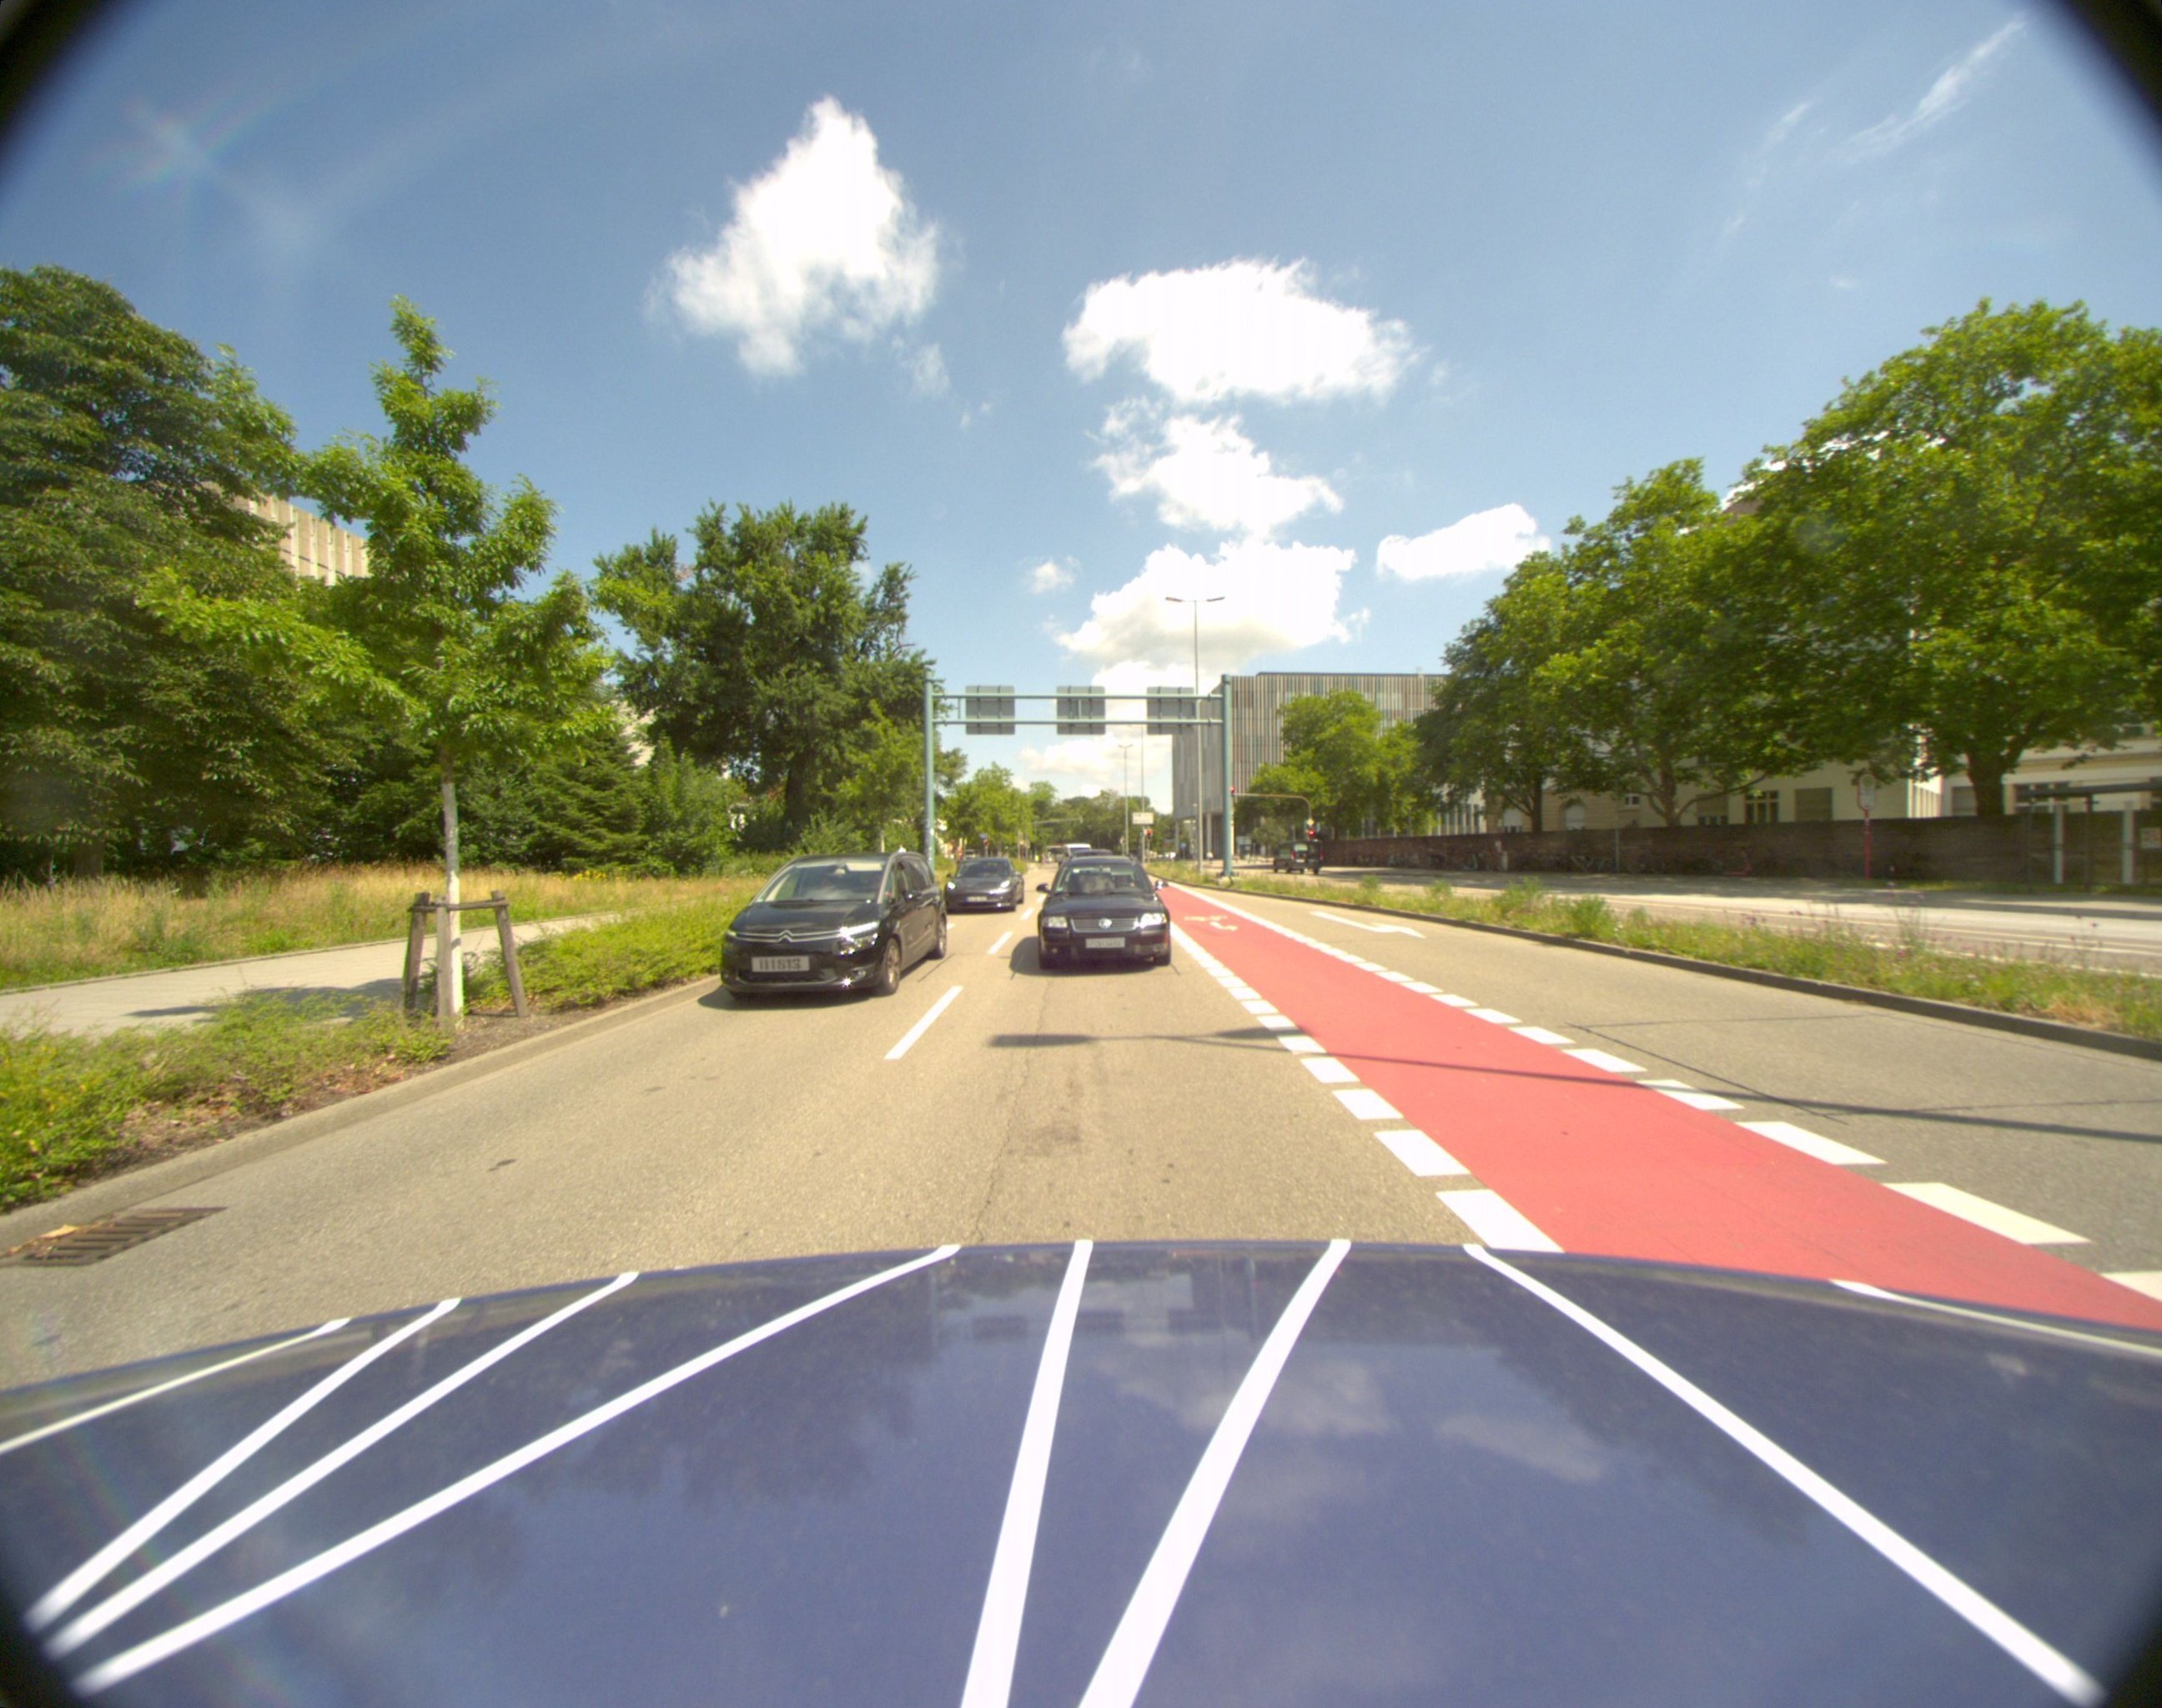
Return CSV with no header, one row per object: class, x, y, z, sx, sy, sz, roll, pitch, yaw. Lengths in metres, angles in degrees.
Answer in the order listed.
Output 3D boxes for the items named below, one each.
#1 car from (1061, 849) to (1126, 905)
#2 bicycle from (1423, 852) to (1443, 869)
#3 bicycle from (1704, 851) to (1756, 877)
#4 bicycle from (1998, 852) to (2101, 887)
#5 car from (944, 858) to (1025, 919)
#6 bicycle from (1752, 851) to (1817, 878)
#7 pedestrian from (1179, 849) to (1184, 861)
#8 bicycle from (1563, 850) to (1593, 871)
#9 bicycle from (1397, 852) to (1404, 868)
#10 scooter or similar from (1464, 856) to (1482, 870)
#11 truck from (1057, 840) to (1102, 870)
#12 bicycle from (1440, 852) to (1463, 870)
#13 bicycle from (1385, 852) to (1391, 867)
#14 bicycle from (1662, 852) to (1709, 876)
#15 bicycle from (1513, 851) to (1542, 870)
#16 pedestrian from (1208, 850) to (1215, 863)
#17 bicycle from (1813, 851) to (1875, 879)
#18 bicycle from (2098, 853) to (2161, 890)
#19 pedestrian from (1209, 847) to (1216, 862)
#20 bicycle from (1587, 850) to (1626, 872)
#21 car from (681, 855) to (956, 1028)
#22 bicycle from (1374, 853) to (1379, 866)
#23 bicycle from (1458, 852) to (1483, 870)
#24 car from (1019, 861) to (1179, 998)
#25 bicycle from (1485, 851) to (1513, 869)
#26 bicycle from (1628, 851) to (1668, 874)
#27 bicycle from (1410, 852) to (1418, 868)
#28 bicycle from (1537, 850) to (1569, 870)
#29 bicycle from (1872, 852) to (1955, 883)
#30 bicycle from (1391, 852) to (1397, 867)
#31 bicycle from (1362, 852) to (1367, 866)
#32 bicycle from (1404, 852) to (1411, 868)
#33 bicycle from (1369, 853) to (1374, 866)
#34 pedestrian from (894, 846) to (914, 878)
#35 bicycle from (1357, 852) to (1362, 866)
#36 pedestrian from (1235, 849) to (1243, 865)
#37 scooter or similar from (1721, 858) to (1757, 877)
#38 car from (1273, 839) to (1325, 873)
car,0.330,0.637,23.507,1.751,1.496,4.519,-3,0,-1
bicycle,23.402,0.446,50.527,0.383,1.101,1.669,-1,1,-9
bicycle,27.356,0.408,32.058,0.398,1.037,1.759,-1,1,-16
bicycle,30.040,0.451,23.617,0.398,1.037,1.954,-1,1,-19
car,-2.576,0.873,21.230,1.766,1.409,4.362,-3,0,-2
bicycle,27.894,0.409,30.182,0.398,1.037,1.955,-1,1,-17
pedestrian,16.135,0.226,121.950,0.715,1.906,0.807,-2,2,-5
bicycle,25.555,0.328,39.091,0.377,1.037,1.415,-1,1,-14
bicycle,22.674,0.399,53.919,0.382,1.101,1.673,0,1,21
scooter or similar,23.521,0.522,45.611,0.353,0.838,1.068,-1,1,-13
truck,-0.193,0.082,62.241,2.464,2.287,5.810,-3,0,-12
bicycle,23.631,0.431,48.505,0.383,1.101,1.668,-1,1,-11
bicycle,22.300,0.389,55.171,0.382,1.101,1.673,0,1,21
bicycle,26.895,0.435,33.821,0.398,0.998,1.759,-1,1,-14
bicycle,24.858,0.328,42.354,0.383,1.037,1.668,-1,1,-12
pedestrian,19.820,0.432,115.654,0.825,1.906,0.807,-2,2,-5
bicycle,28.497,0.395,28.402,0.398,1.037,1.637,-1,1,-19
bicycle,30.690,0.505,21.692,0.398,1.037,1.954,-1,1,-19
pedestrian,16.606,0.061,95.746,0.632,1.907,0.718,-2,2,-3
bicycle,25.947,0.344,37.519,0.398,1.037,1.759,-1,1,-14
car,-2.983,0.878,9.816,1.862,1.613,4.520,-3,0,1
bicycle,22.248,0.409,57.251,0.329,1.012,1.673,0,1,21
bicycle,24.008,0.407,46.845,0.383,1.101,1.668,-1,1,-12
car,0.241,0.888,10.918,1.751,1.426,4.520,-3,0,1
bicycle,24.337,0.333,44.255,0.383,1.037,1.668,-1,1,-12
bicycle,26.470,0.368,35.503,0.398,1.037,1.581,-1,1,-14
bicycle,22.923,0.418,52.304,0.382,1.101,1.673,0,1,21
bicycle,25.212,0.314,40.635,0.383,1.037,1.668,-1,1,-12
bicycle,29.118,0.438,26.604,0.398,1.037,1.954,-1,1,-19
bicycle,22.562,0.388,54.734,0.382,1.101,1.673,0,1,21
bicycle,22.000,0.395,58.892,0.329,1.012,1.673,0,1,21
bicycle,22.782,0.409,53.059,0.382,1.101,1.673,0,1,21
bicycle,22.138,0.405,57.964,0.329,1.012,1.673,0,1,21
pedestrian,-9.860,0.430,42.397,0.844,1.755,0.841,-2,2,0
bicycle,21.863,0.389,59.622,0.329,1.012,1.673,0,1,21
pedestrian,19.296,0.365,92.955,0.715,1.906,0.807,-2,2,-5
scooter or similar,26.956,0.546,31.122,0.353,0.789,1.067,-1,1,-25
car,14.349,0.123,50.268,2.214,2.158,4.520,1,0,1
